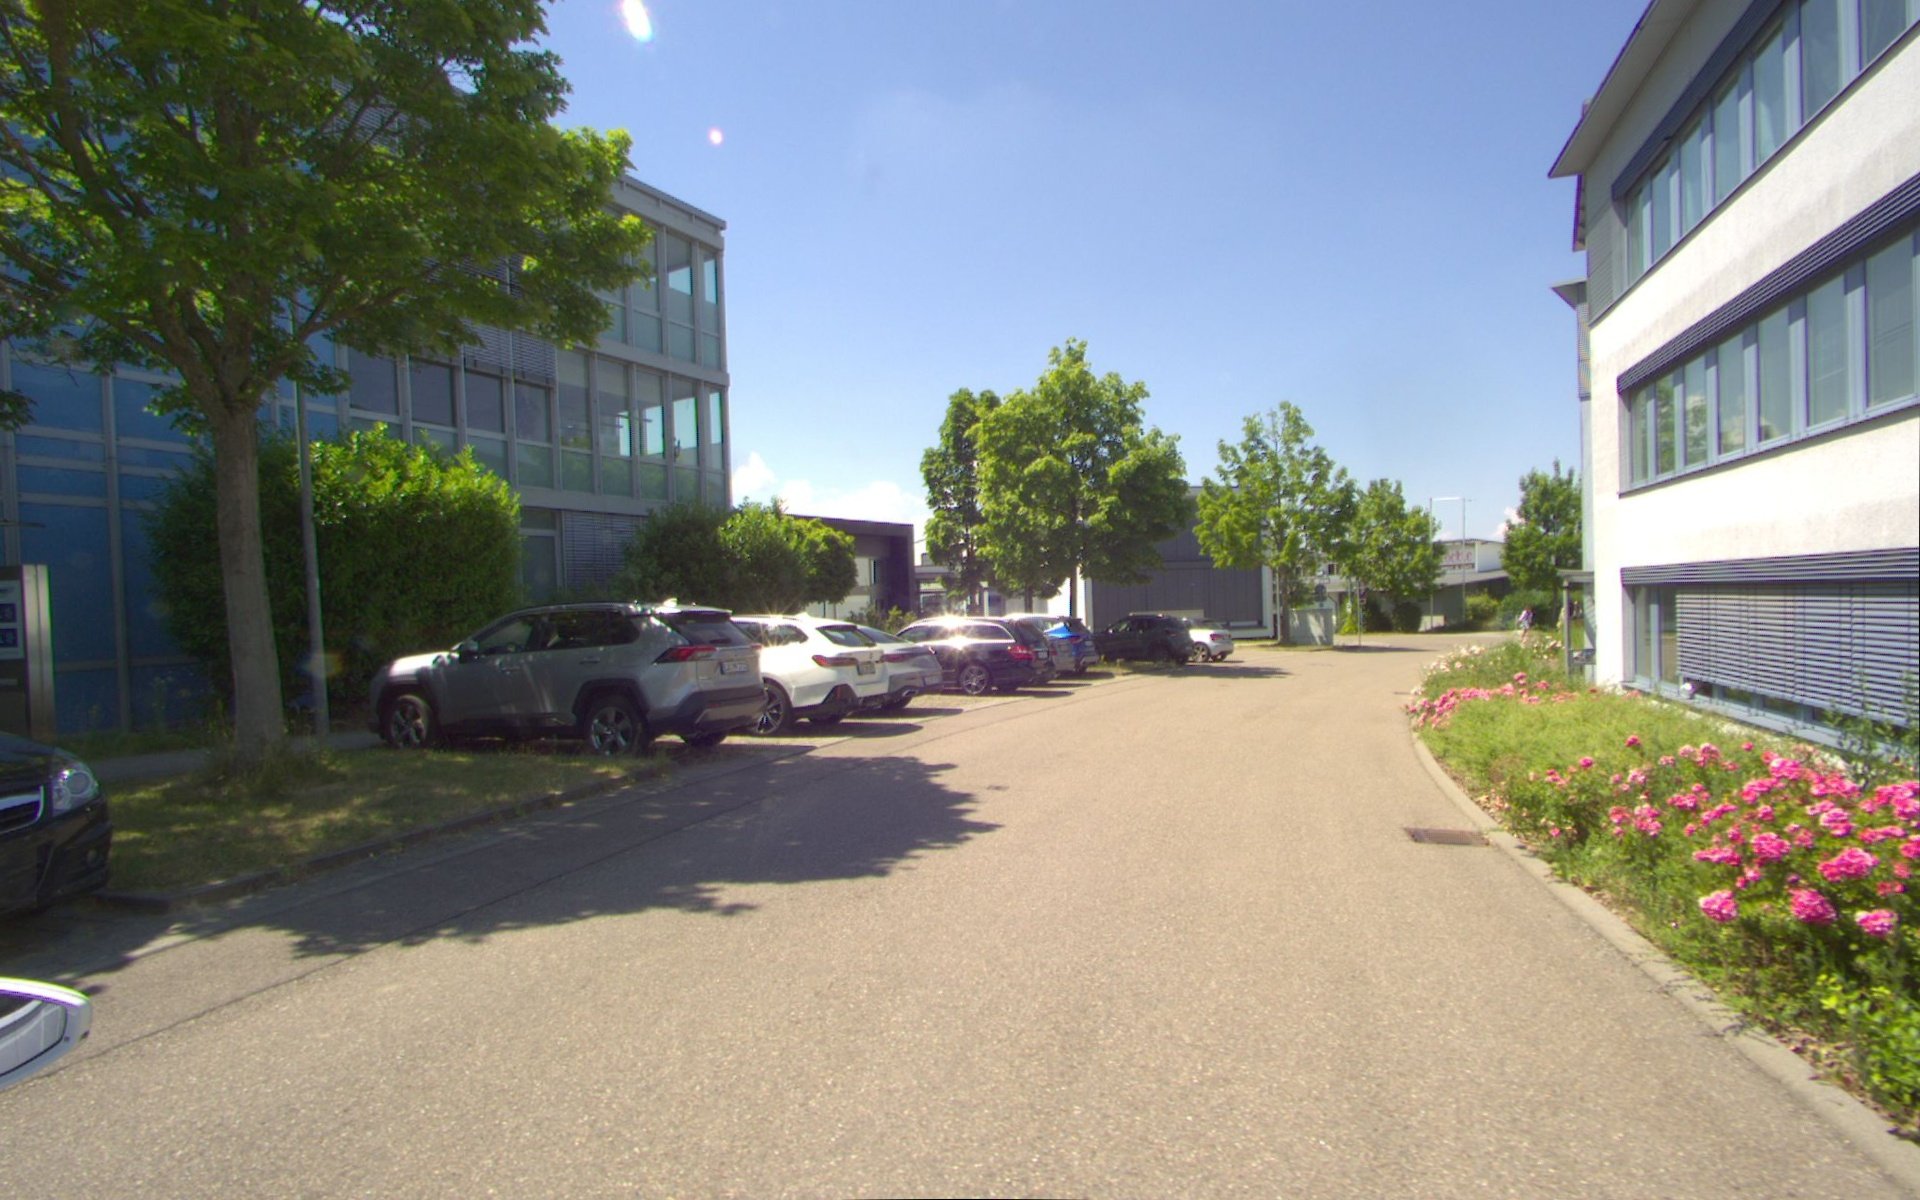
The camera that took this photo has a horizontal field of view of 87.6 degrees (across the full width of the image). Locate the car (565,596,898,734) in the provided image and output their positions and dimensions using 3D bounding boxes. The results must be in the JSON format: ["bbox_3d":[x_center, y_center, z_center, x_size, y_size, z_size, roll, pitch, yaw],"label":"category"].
[{"bbox_3d":[-3.056,0.804,13.498,4.128,1.664,1.658,0,0,18],"label":"car"}]

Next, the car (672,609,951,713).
[{"bbox_3d":[-2.345,0.904,15.942,4.103,1.506,1.658,0,0,18],"label":"car"}]

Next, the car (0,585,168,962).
[{"bbox_3d":[-6.206,0.767,4.582,4.482,1.569,1.762,-1,-1,16],"label":"car"}]

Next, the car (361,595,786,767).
[{"bbox_3d":[-4.295,0.799,11.246,4.255,1.664,1.854,0,0,18],"label":"car"}]

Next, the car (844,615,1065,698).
[{"bbox_3d":[-0.126,1.062,19.990,4.110,1.506,1.655,0,0,26],"label":"car"}]

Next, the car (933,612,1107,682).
[{"bbox_3d":[1.474,1.115,25.151,4.118,1.626,1.652,0,-1,32],"label":"car"}]

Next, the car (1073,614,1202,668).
[{"bbox_3d":[5.406,1.197,30.552,3.542,1.546,1.625,0,-1,36],"label":"car"}]

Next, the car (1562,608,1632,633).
[{"bbox_3d":[37.871,1.233,59.623,1.562,1.461,3.208,-1,-1,-20],"label":"car"}]

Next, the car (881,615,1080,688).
[{"bbox_3d":[0.466,1.100,22.241,4.104,1.506,1.658,0,0,19],"label":"car"}]

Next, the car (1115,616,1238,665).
[{"bbox_3d":[6.964,1.264,32.334,3.542,1.462,1.625,0,-1,36],"label":"car"}]
